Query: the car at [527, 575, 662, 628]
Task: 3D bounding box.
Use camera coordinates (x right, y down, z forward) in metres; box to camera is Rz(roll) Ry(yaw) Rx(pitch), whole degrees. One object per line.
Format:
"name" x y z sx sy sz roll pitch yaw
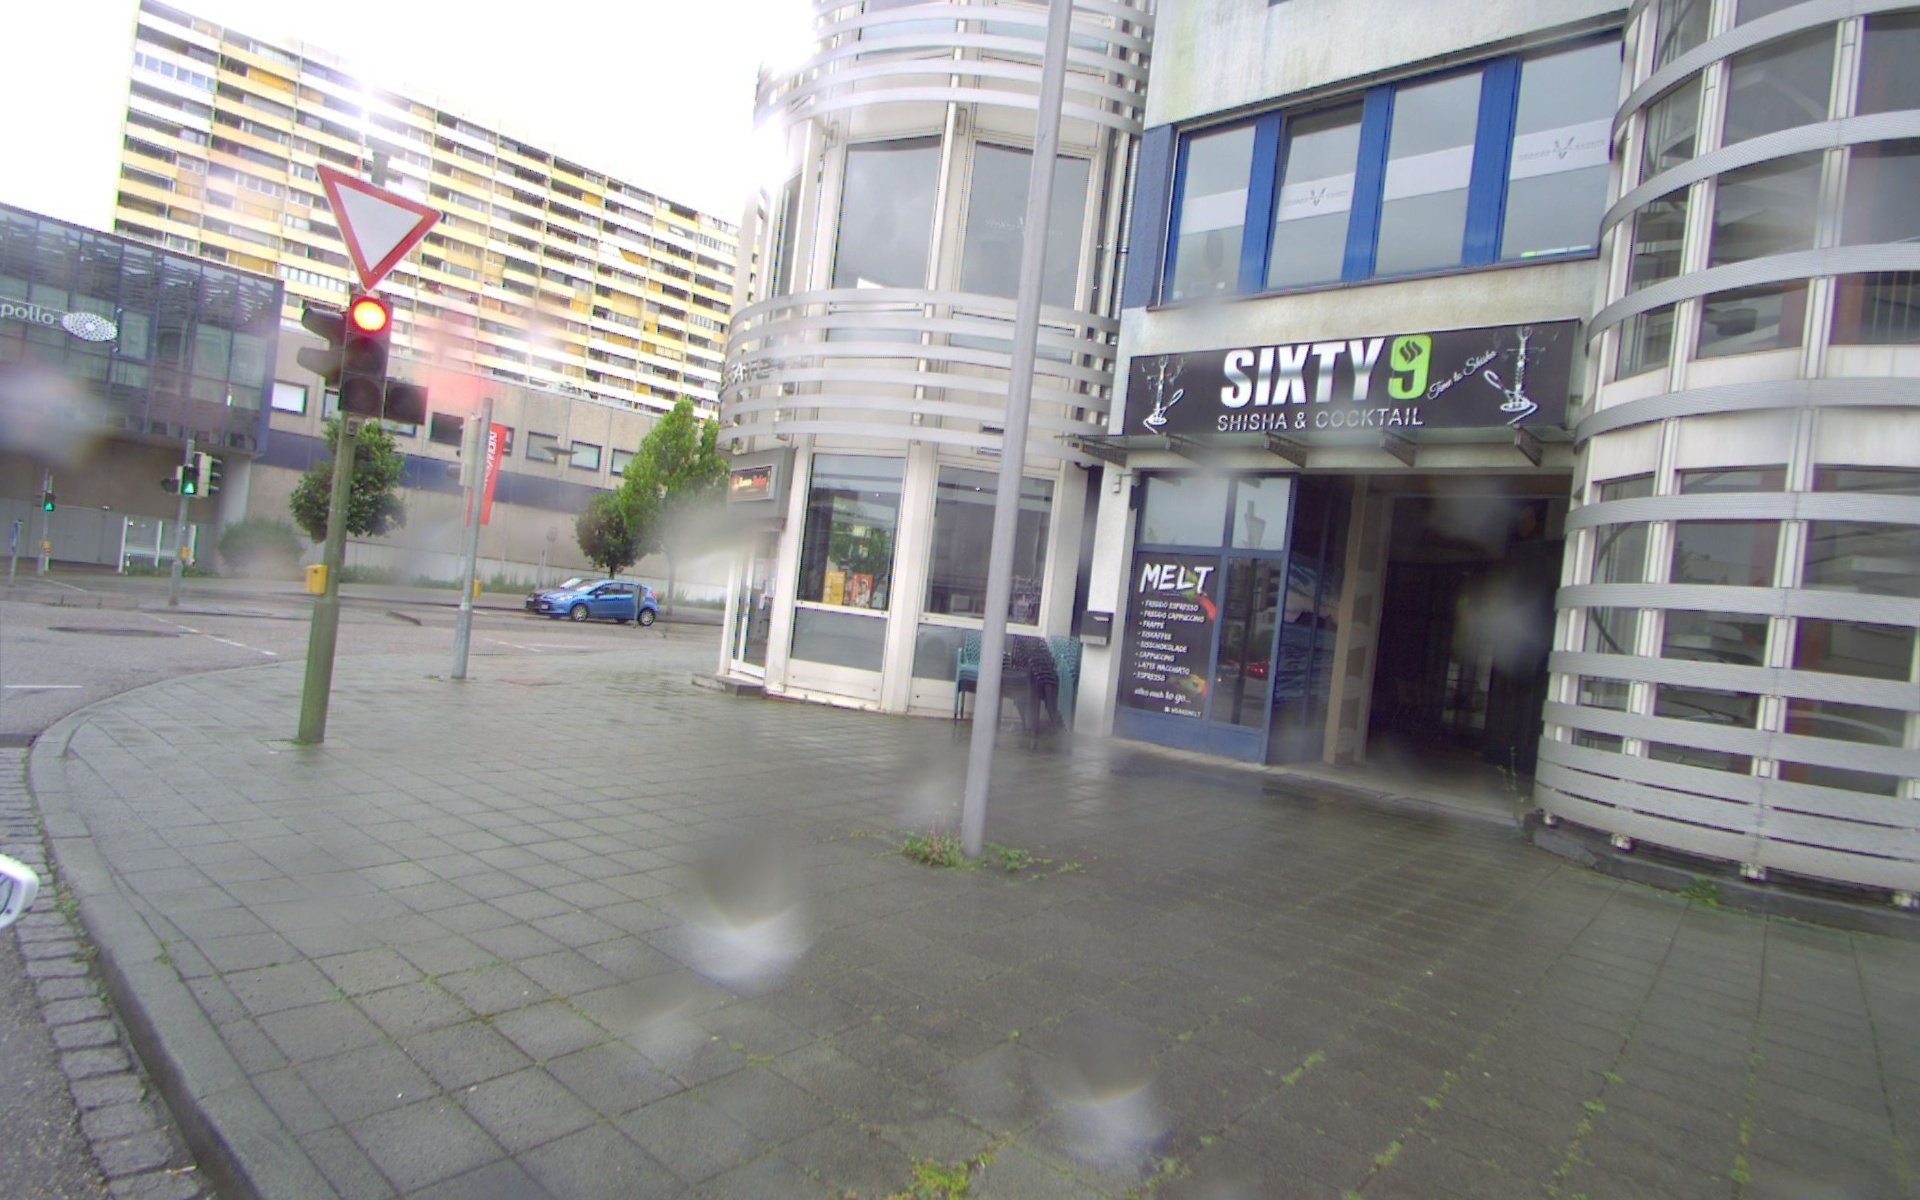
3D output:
"car" -12.076 0.071 33.415 1.655 1.415 3.837 5 0 40

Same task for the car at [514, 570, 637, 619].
"car" -13.752 -0.168 36.075 1.720 1.412 3.677 5 0 41
